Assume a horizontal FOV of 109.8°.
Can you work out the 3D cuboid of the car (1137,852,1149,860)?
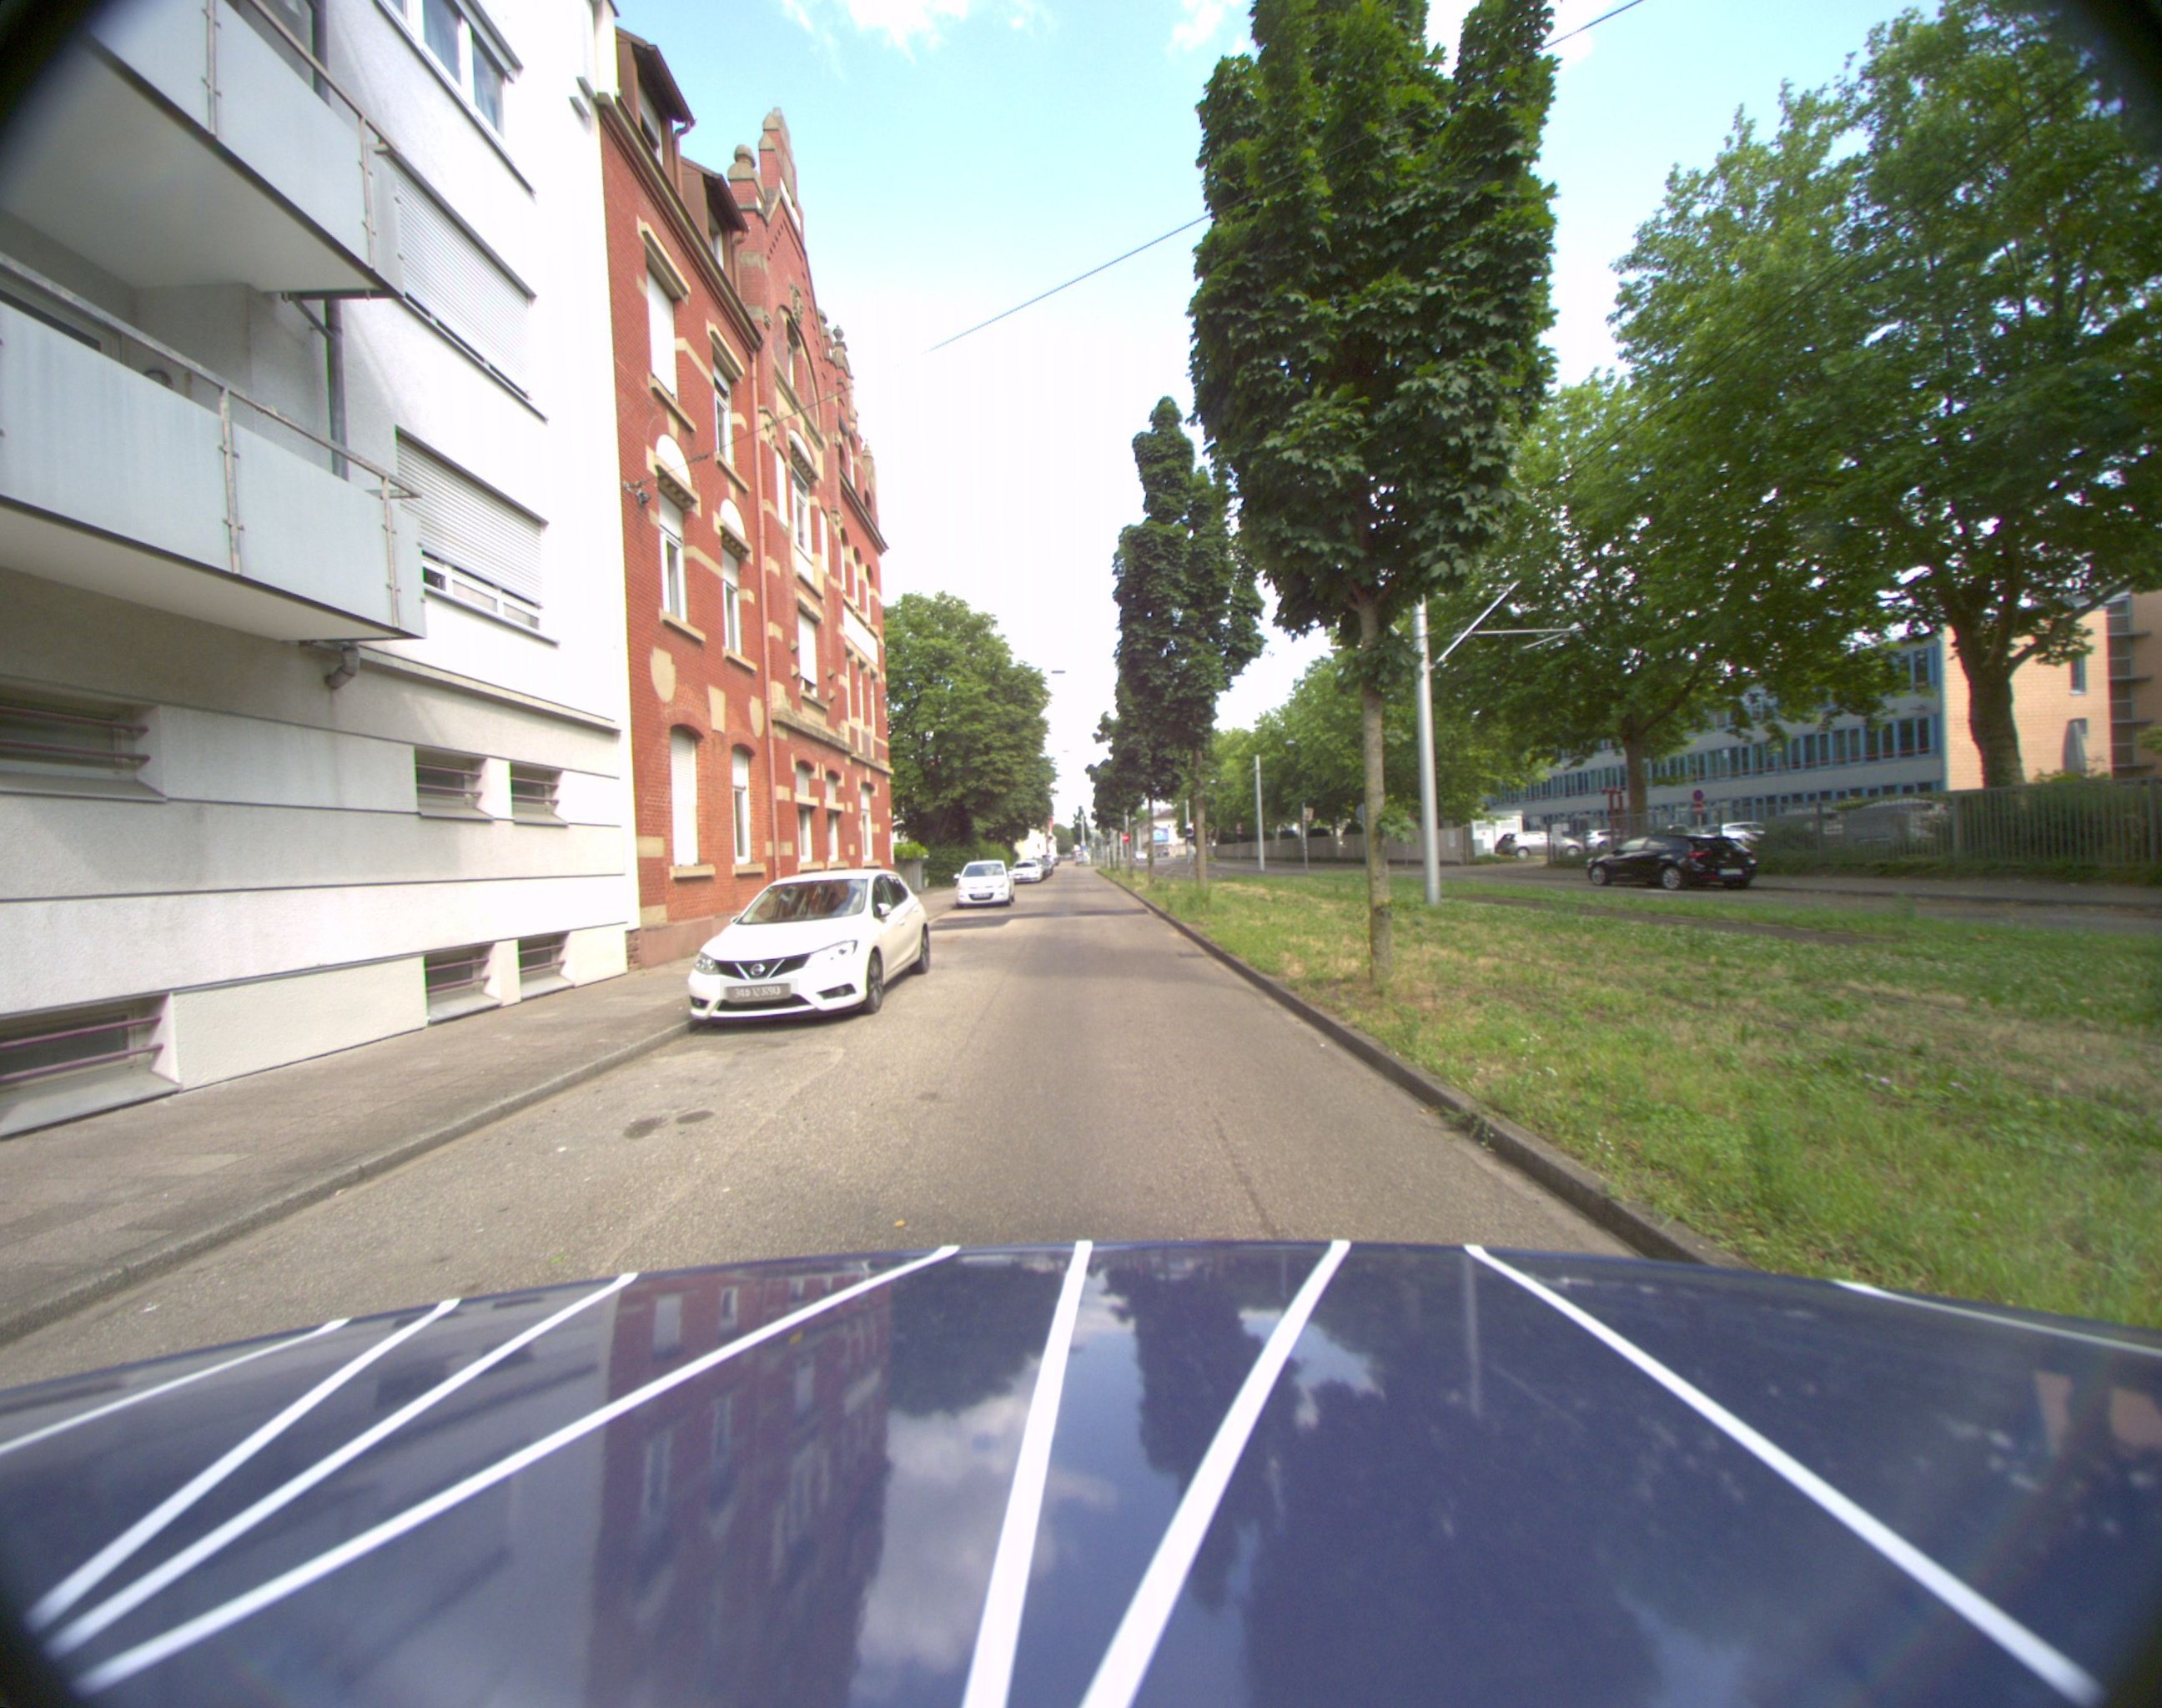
[{"bbox_3d":[11.527,0.362,142.440,1.801,1.521,4.040,-4,0,0],"label":"car"}]

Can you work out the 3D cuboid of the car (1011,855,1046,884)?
[{"bbox_3d":[-3.166,0.939,46.686,1.801,1.521,4.040,-5,0,0],"label":"car"}]

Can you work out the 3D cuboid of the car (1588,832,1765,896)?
[{"bbox_3d":[15.555,0.221,20.153,1.601,1.455,4.000,-3,0,2],"label":"car"}]

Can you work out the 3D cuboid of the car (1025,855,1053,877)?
[{"bbox_3d":[-3.202,0.896,58.453,1.801,1.521,4.040,-5,0,0],"label":"car"}]

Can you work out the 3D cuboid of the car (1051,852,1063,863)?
[{"bbox_3d":[-3.853,0.522,122.177,1.801,1.521,4.040,-5,0,0],"label":"car"}]

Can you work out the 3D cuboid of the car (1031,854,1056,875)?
[{"bbox_3d":[-3.135,0.846,63.866,1.801,1.521,4.040,-5,0,0],"label":"car"}]

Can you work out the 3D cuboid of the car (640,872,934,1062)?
[{"bbox_3d":[-3.047,1.069,8.900,1.801,1.521,4.040,-3,0,0],"label":"car"}]

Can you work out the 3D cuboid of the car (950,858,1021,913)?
[{"bbox_3d":[-3.078,0.980,25.247,1.801,1.521,4.040,-4,0,0],"label":"car"}]

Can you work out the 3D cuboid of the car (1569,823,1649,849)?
[{"bbox_3d":[35.378,-1.202,50.950,3.997,1.608,1.999,-2,1,-2],"label":"car"}]

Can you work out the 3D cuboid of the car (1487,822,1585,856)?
[{"bbox_3d":[23.992,-0.786,40.181,3.997,1.608,1.999,-2,1,-2],"label":"car"}]

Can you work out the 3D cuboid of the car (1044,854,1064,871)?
[{"bbox_3d":[-2.728,0.868,77.935,1.801,1.521,4.040,-5,0,0],"label":"car"}]

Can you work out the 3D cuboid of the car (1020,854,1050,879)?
[{"bbox_3d":[-3.163,0.858,52.993,1.801,1.521,4.040,-5,0,0],"label":"car"}]

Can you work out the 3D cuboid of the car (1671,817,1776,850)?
[{"bbox_3d":[34.562,-1.086,40.960,3.997,1.608,1.999,-2,1,-2],"label":"car"}]
